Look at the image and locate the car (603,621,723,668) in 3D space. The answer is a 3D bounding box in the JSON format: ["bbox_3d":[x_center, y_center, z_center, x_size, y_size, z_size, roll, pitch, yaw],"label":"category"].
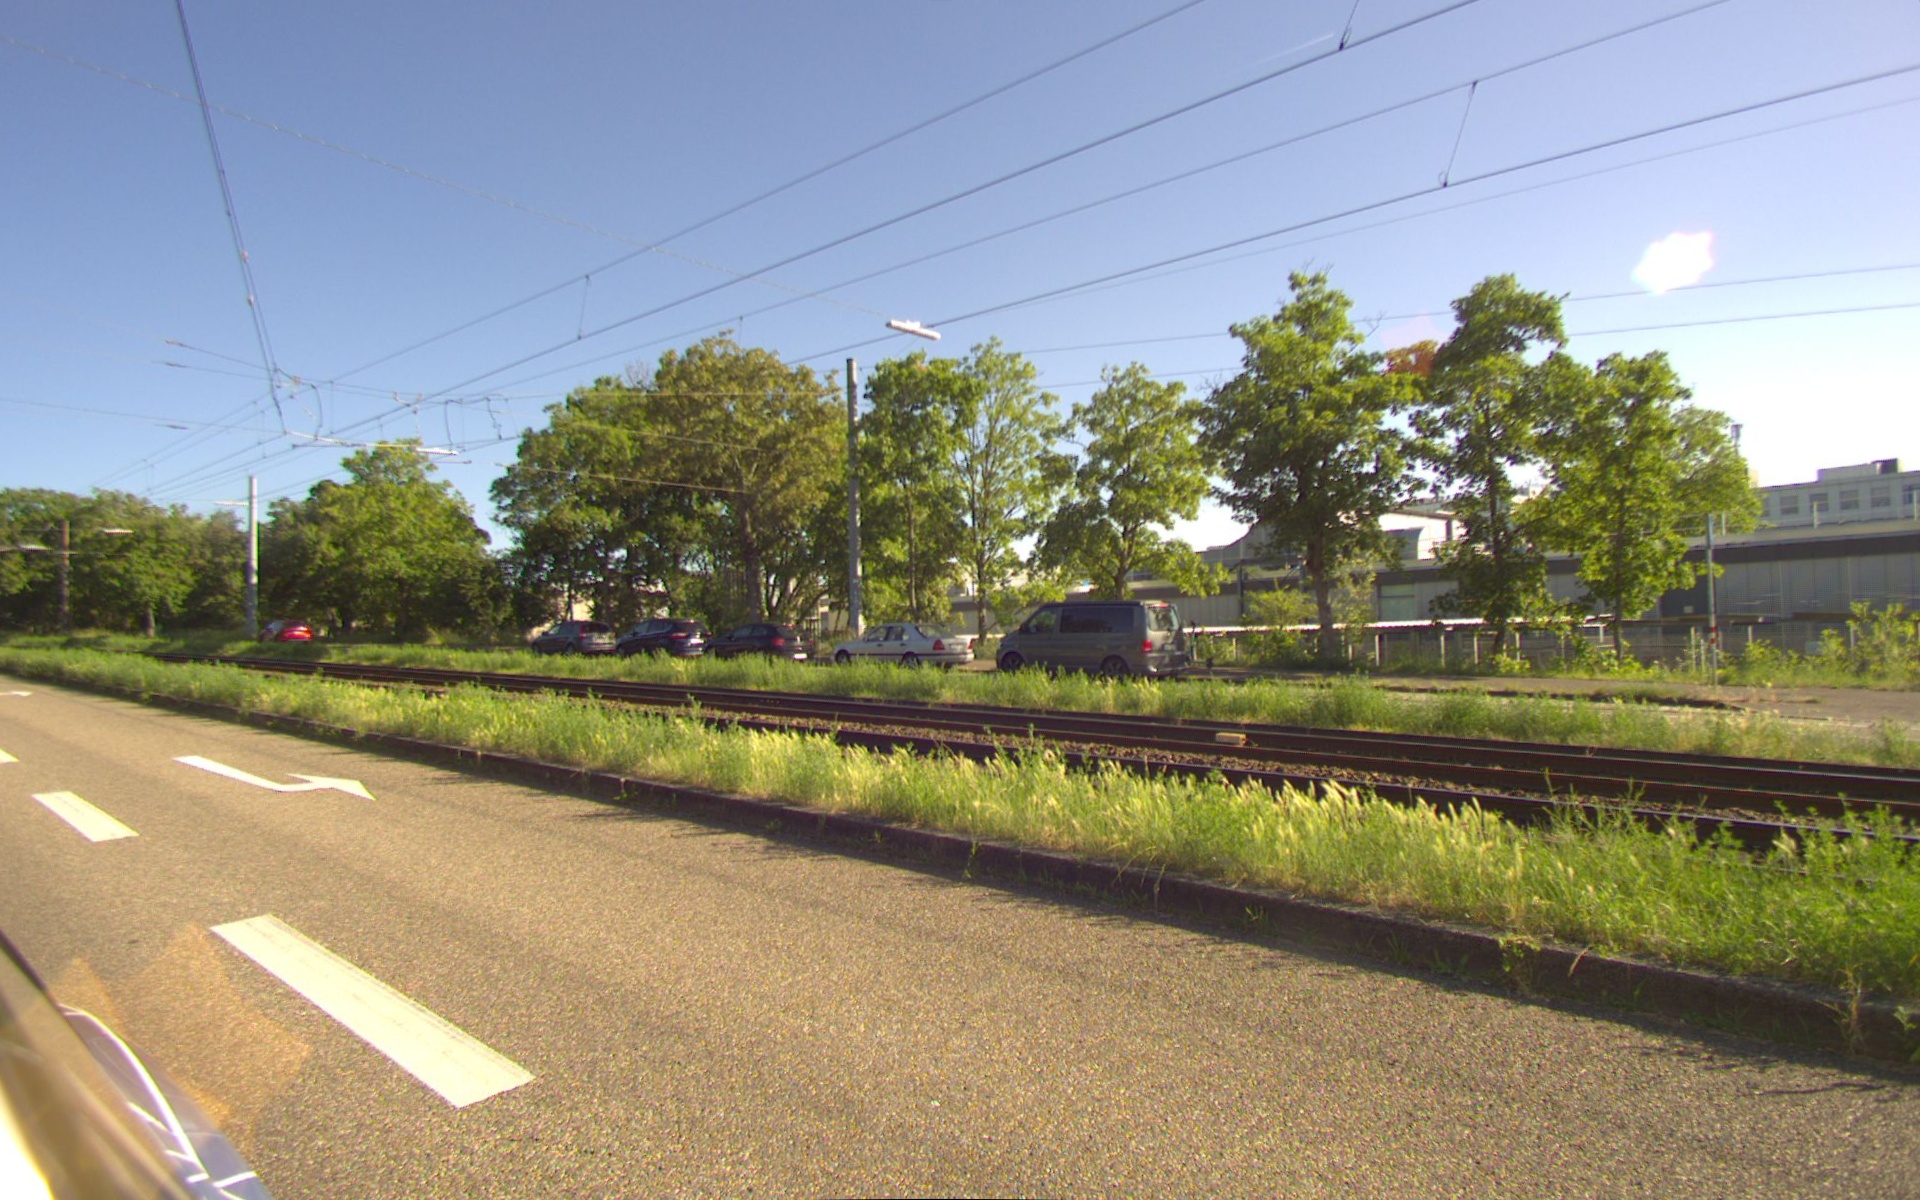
[{"bbox_3d":[-10.665,1.577,36.235,4.430,1.586,1.974,-2,-2,40],"label":"car"}]

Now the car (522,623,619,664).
[{"bbox_3d":[-15.681,1.729,40.683,4.323,1.505,1.718,-1,0,39],"label":"car"}]

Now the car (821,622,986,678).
[{"bbox_3d":[-1.665,1.380,28.638,4.692,1.448,1.908,-2,-2,41],"label":"car"}]

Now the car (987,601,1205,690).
[{"bbox_3d":[3.171,1.044,24.246,4.791,1.905,2.173,-2,-2,43],"label":"car"}]

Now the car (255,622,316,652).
[{"bbox_3d":[-41.517,2.255,62.251,4.462,1.715,1.984,-2,-1,40],"label":"car"}]

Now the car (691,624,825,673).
[{"bbox_3d":[-6.580,1.546,32.767,4.412,1.448,1.973,-2,-2,41],"label":"car"}]
